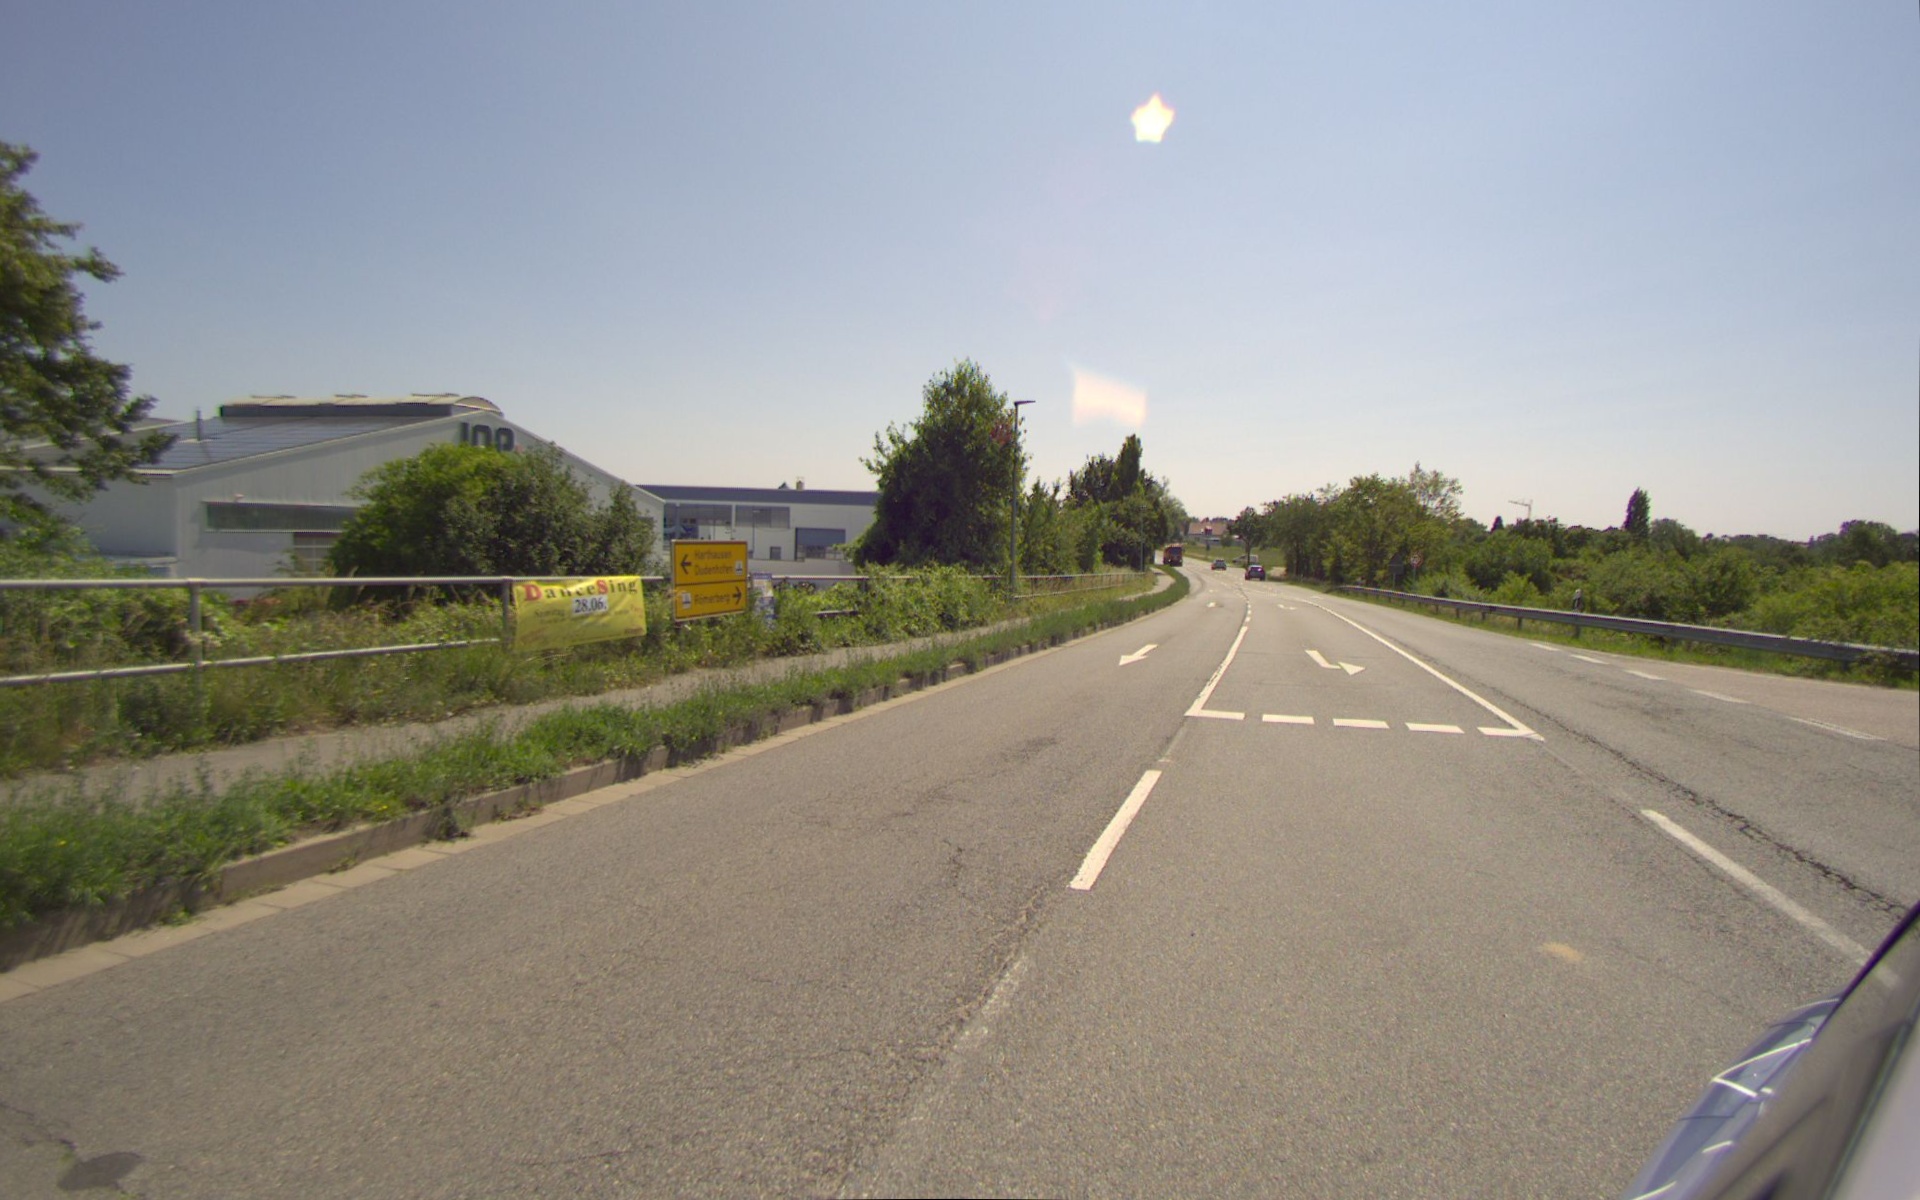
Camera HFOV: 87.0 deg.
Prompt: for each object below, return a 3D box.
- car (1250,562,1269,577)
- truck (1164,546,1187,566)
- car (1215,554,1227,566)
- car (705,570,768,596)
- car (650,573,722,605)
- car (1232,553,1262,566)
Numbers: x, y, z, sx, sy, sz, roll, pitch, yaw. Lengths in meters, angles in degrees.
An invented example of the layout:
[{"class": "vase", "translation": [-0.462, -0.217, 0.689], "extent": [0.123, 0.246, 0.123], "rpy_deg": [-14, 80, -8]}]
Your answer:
[{"class": "car", "translation": [32.391, -3.284, 109.508], "extent": [1.773, 1.603, 4.469], "rpy_deg": [2, 2, 16]}, {"class": "truck", "translation": [33.188, -6.814, 155.996], "extent": [2.815, 2.821, 6.946], "rpy_deg": [2, 3, 8]}, {"class": "car", "translation": [37.210, -5.673, 144.139], "extent": [1.506, 1.592, 3.651], "rpy_deg": [2, 2, 16]}, {"class": "car", "translation": [-15.727, -1.228, 71.119], "extent": [4.017, 1.591, 1.723], "rpy_deg": [2, 5, 16]}, {"class": "car", "translation": [-17.253, -0.691, 63.700], "extent": [4.085, 1.744, 1.723], "rpy_deg": [2, 5, 16]}, {"class": "car", "translation": [48.483, -6.905, 171.029], "extent": [4.379, 2.038, 1.979], "rpy_deg": [3, 2, 31]}]
